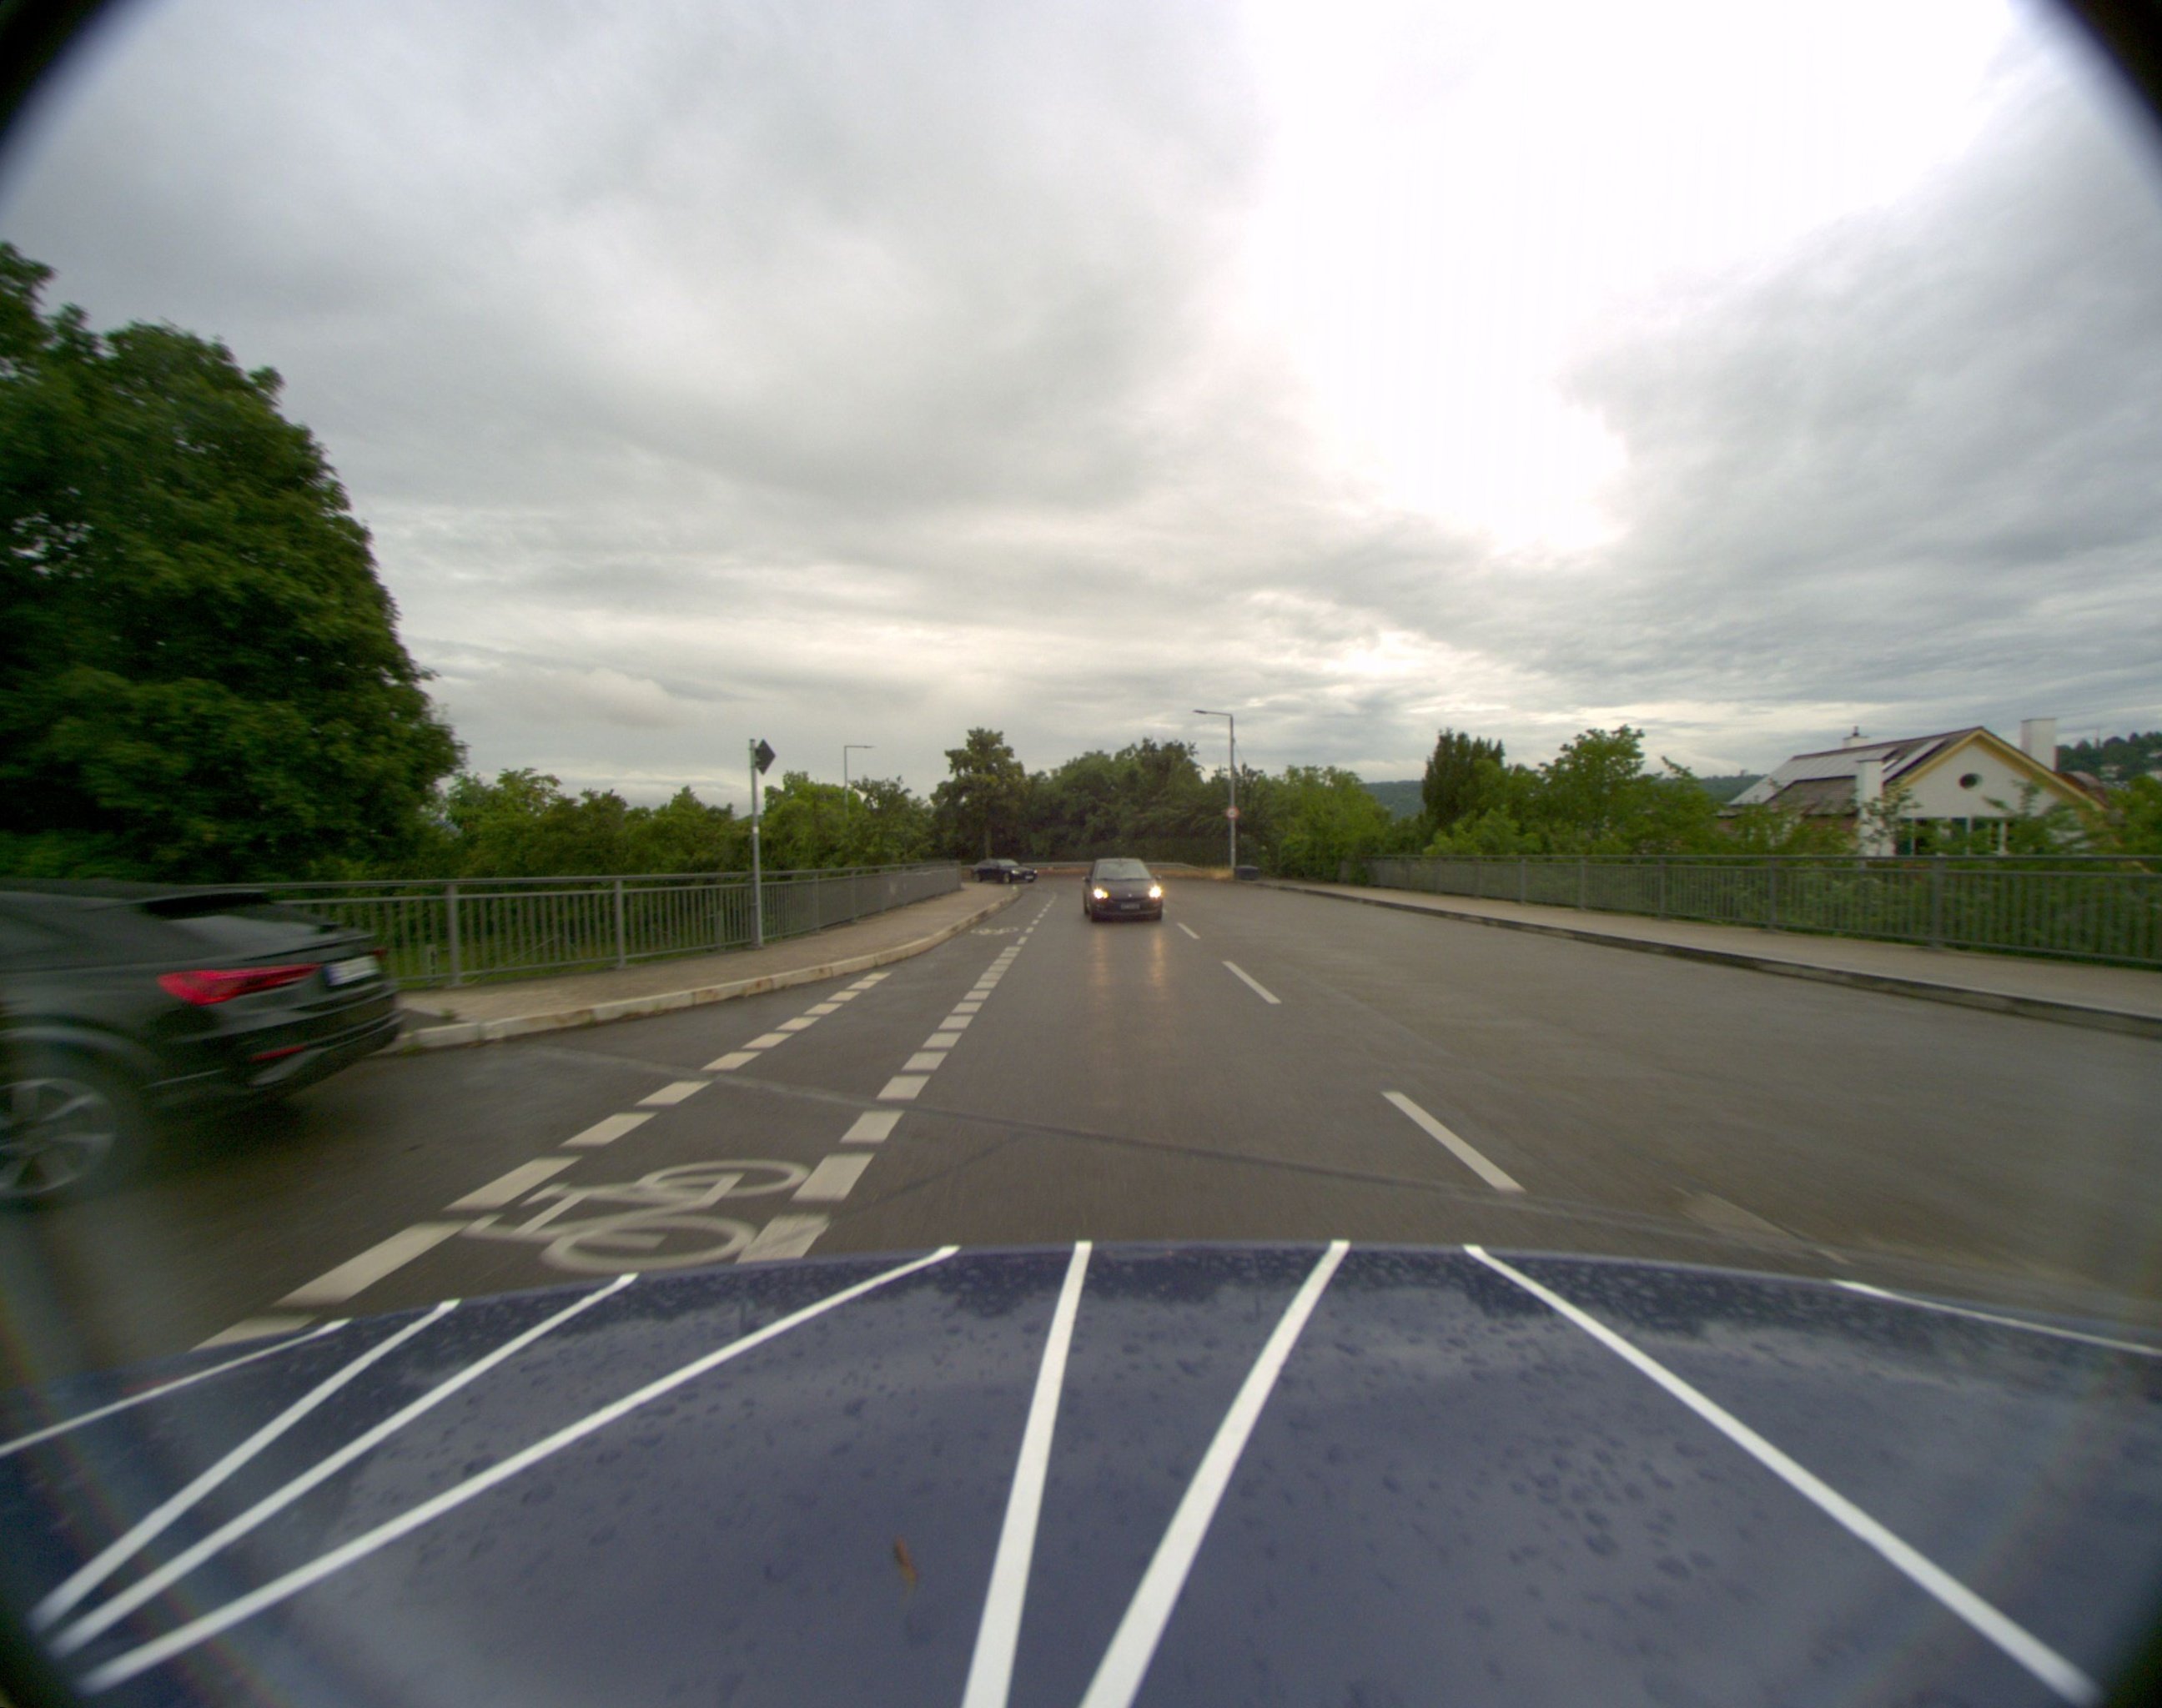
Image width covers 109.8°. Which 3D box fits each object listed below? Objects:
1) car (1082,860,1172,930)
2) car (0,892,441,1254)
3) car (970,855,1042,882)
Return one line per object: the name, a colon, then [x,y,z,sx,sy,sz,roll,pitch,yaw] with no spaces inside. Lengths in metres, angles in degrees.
car: [1.000,0.896,18.193,1.681,1.405,3.636,-2,0,-4]
car: [-6.266,1.064,3.834,4.206,1.514,1.996,-1,0,-23]
car: [-4.321,0.810,43.397,1.771,1.445,4.387,0,-1,-44]
